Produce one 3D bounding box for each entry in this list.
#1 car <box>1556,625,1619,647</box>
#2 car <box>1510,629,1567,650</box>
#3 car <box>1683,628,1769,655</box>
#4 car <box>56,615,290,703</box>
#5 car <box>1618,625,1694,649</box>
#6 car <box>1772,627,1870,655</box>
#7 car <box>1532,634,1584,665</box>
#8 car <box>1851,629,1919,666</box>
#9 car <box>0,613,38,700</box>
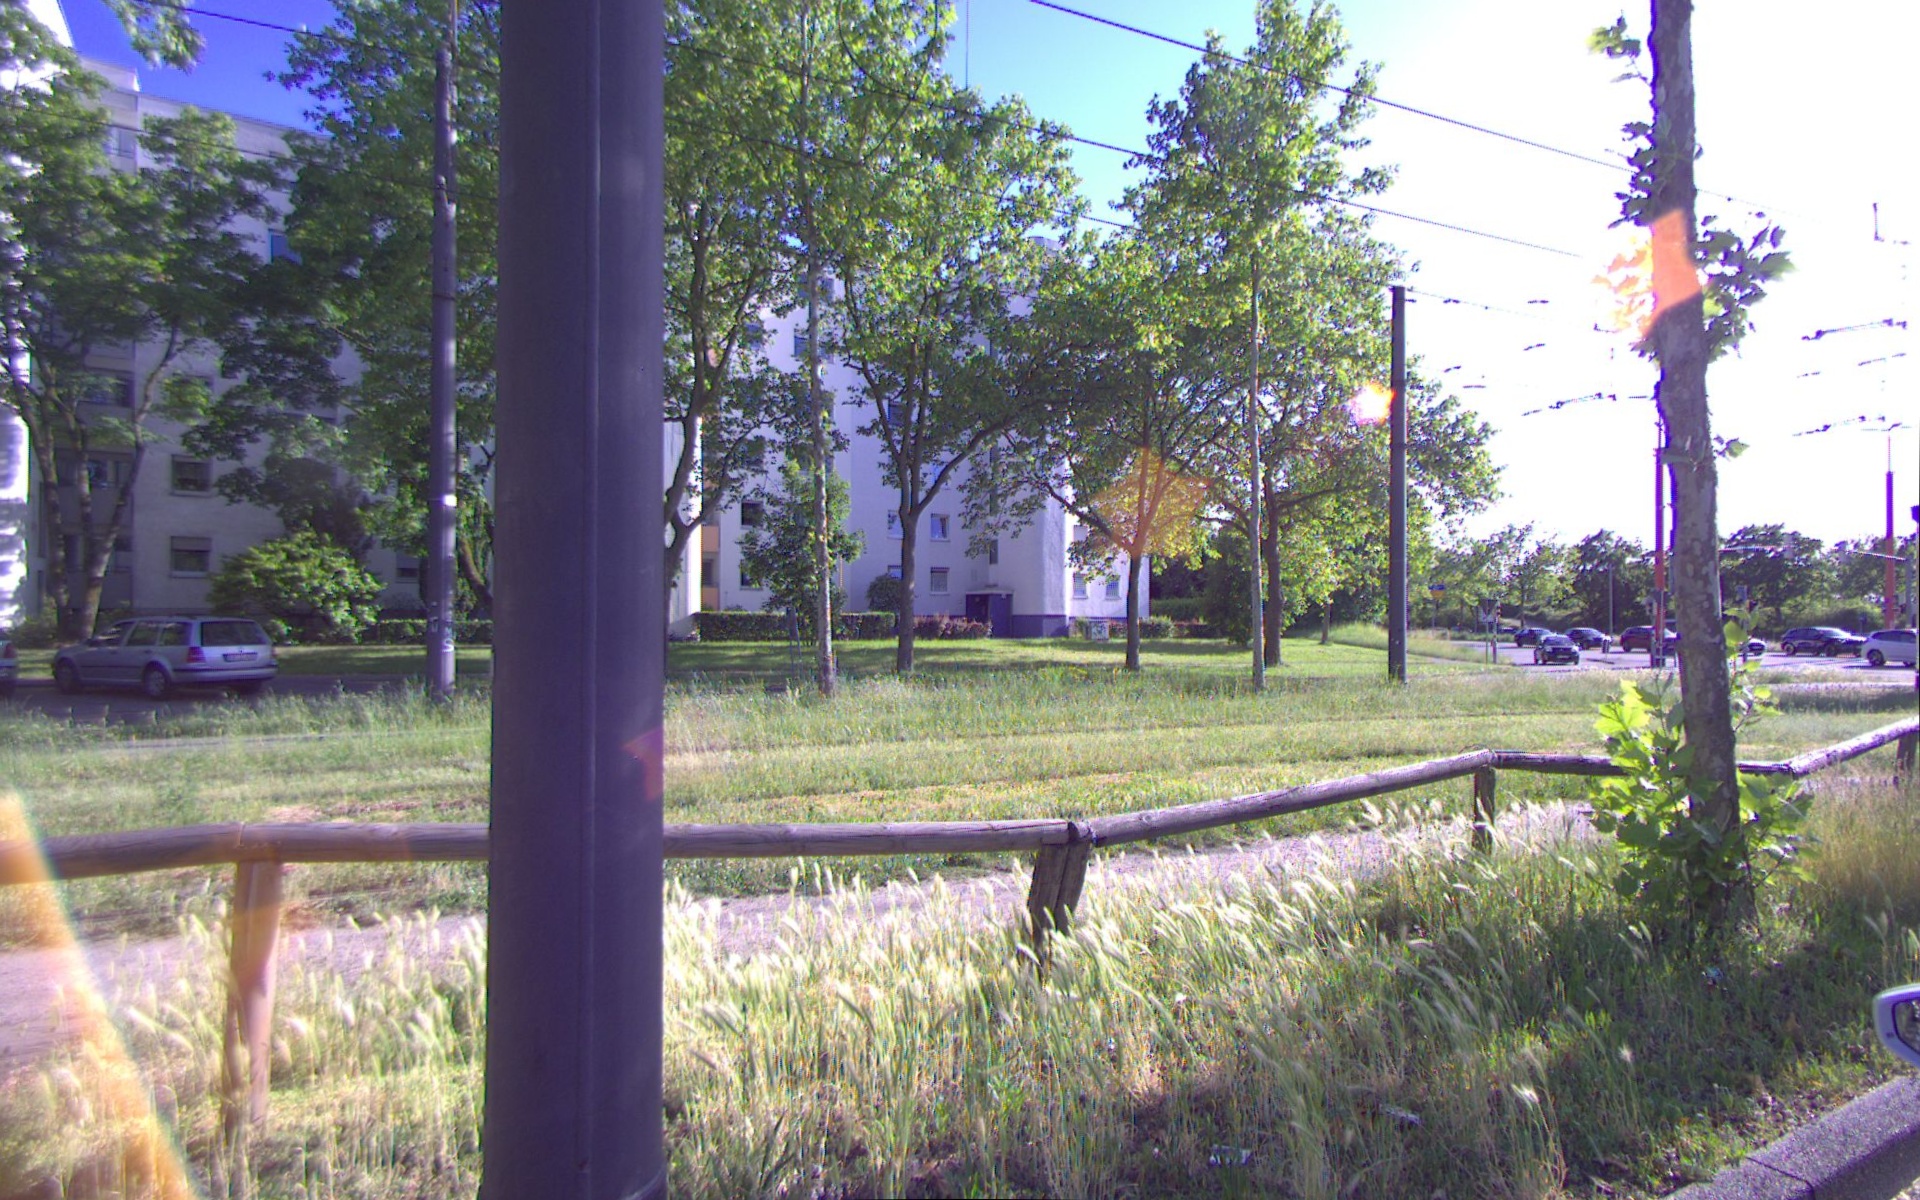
[{"bbox_3d":[45.014,2.560,72.150,1.877,1.483,4.055,1,-1,-3],"label":"car"},{"bbox_3d":[44.835,3.038,77.955,1.877,1.483,4.239,1,-1,-3],"label":"car"},{"bbox_3d":[45.671,2.460,60.010,1.877,1.483,4.222,1,-1,-2],"label":"car"},{"bbox_3d":[-14.466,1.024,18.494,3.609,1.452,1.732,0,-1,20],"label":"car"},{"bbox_3d":[45.538,2.402,65.815,1.877,1.483,4.373,1,-1,-2],"label":"car"},{"bbox_3d":[48.773,2.307,57.010,1.877,1.483,4.222,1,-1,-2],"label":"car"},{"bbox_3d":[30.453,2.479,51.244,1.792,1.439,3.756,0,-1,23],"label":"car"},{"bbox_3d":[42.840,2.120,44.792,1.877,1.619,4.795,1,-1,-2],"label":"car"},{"bbox_3d":[-17.910,0.925,17.150,3.609,1.452,1.703,0,-1,20],"label":"car"}]
